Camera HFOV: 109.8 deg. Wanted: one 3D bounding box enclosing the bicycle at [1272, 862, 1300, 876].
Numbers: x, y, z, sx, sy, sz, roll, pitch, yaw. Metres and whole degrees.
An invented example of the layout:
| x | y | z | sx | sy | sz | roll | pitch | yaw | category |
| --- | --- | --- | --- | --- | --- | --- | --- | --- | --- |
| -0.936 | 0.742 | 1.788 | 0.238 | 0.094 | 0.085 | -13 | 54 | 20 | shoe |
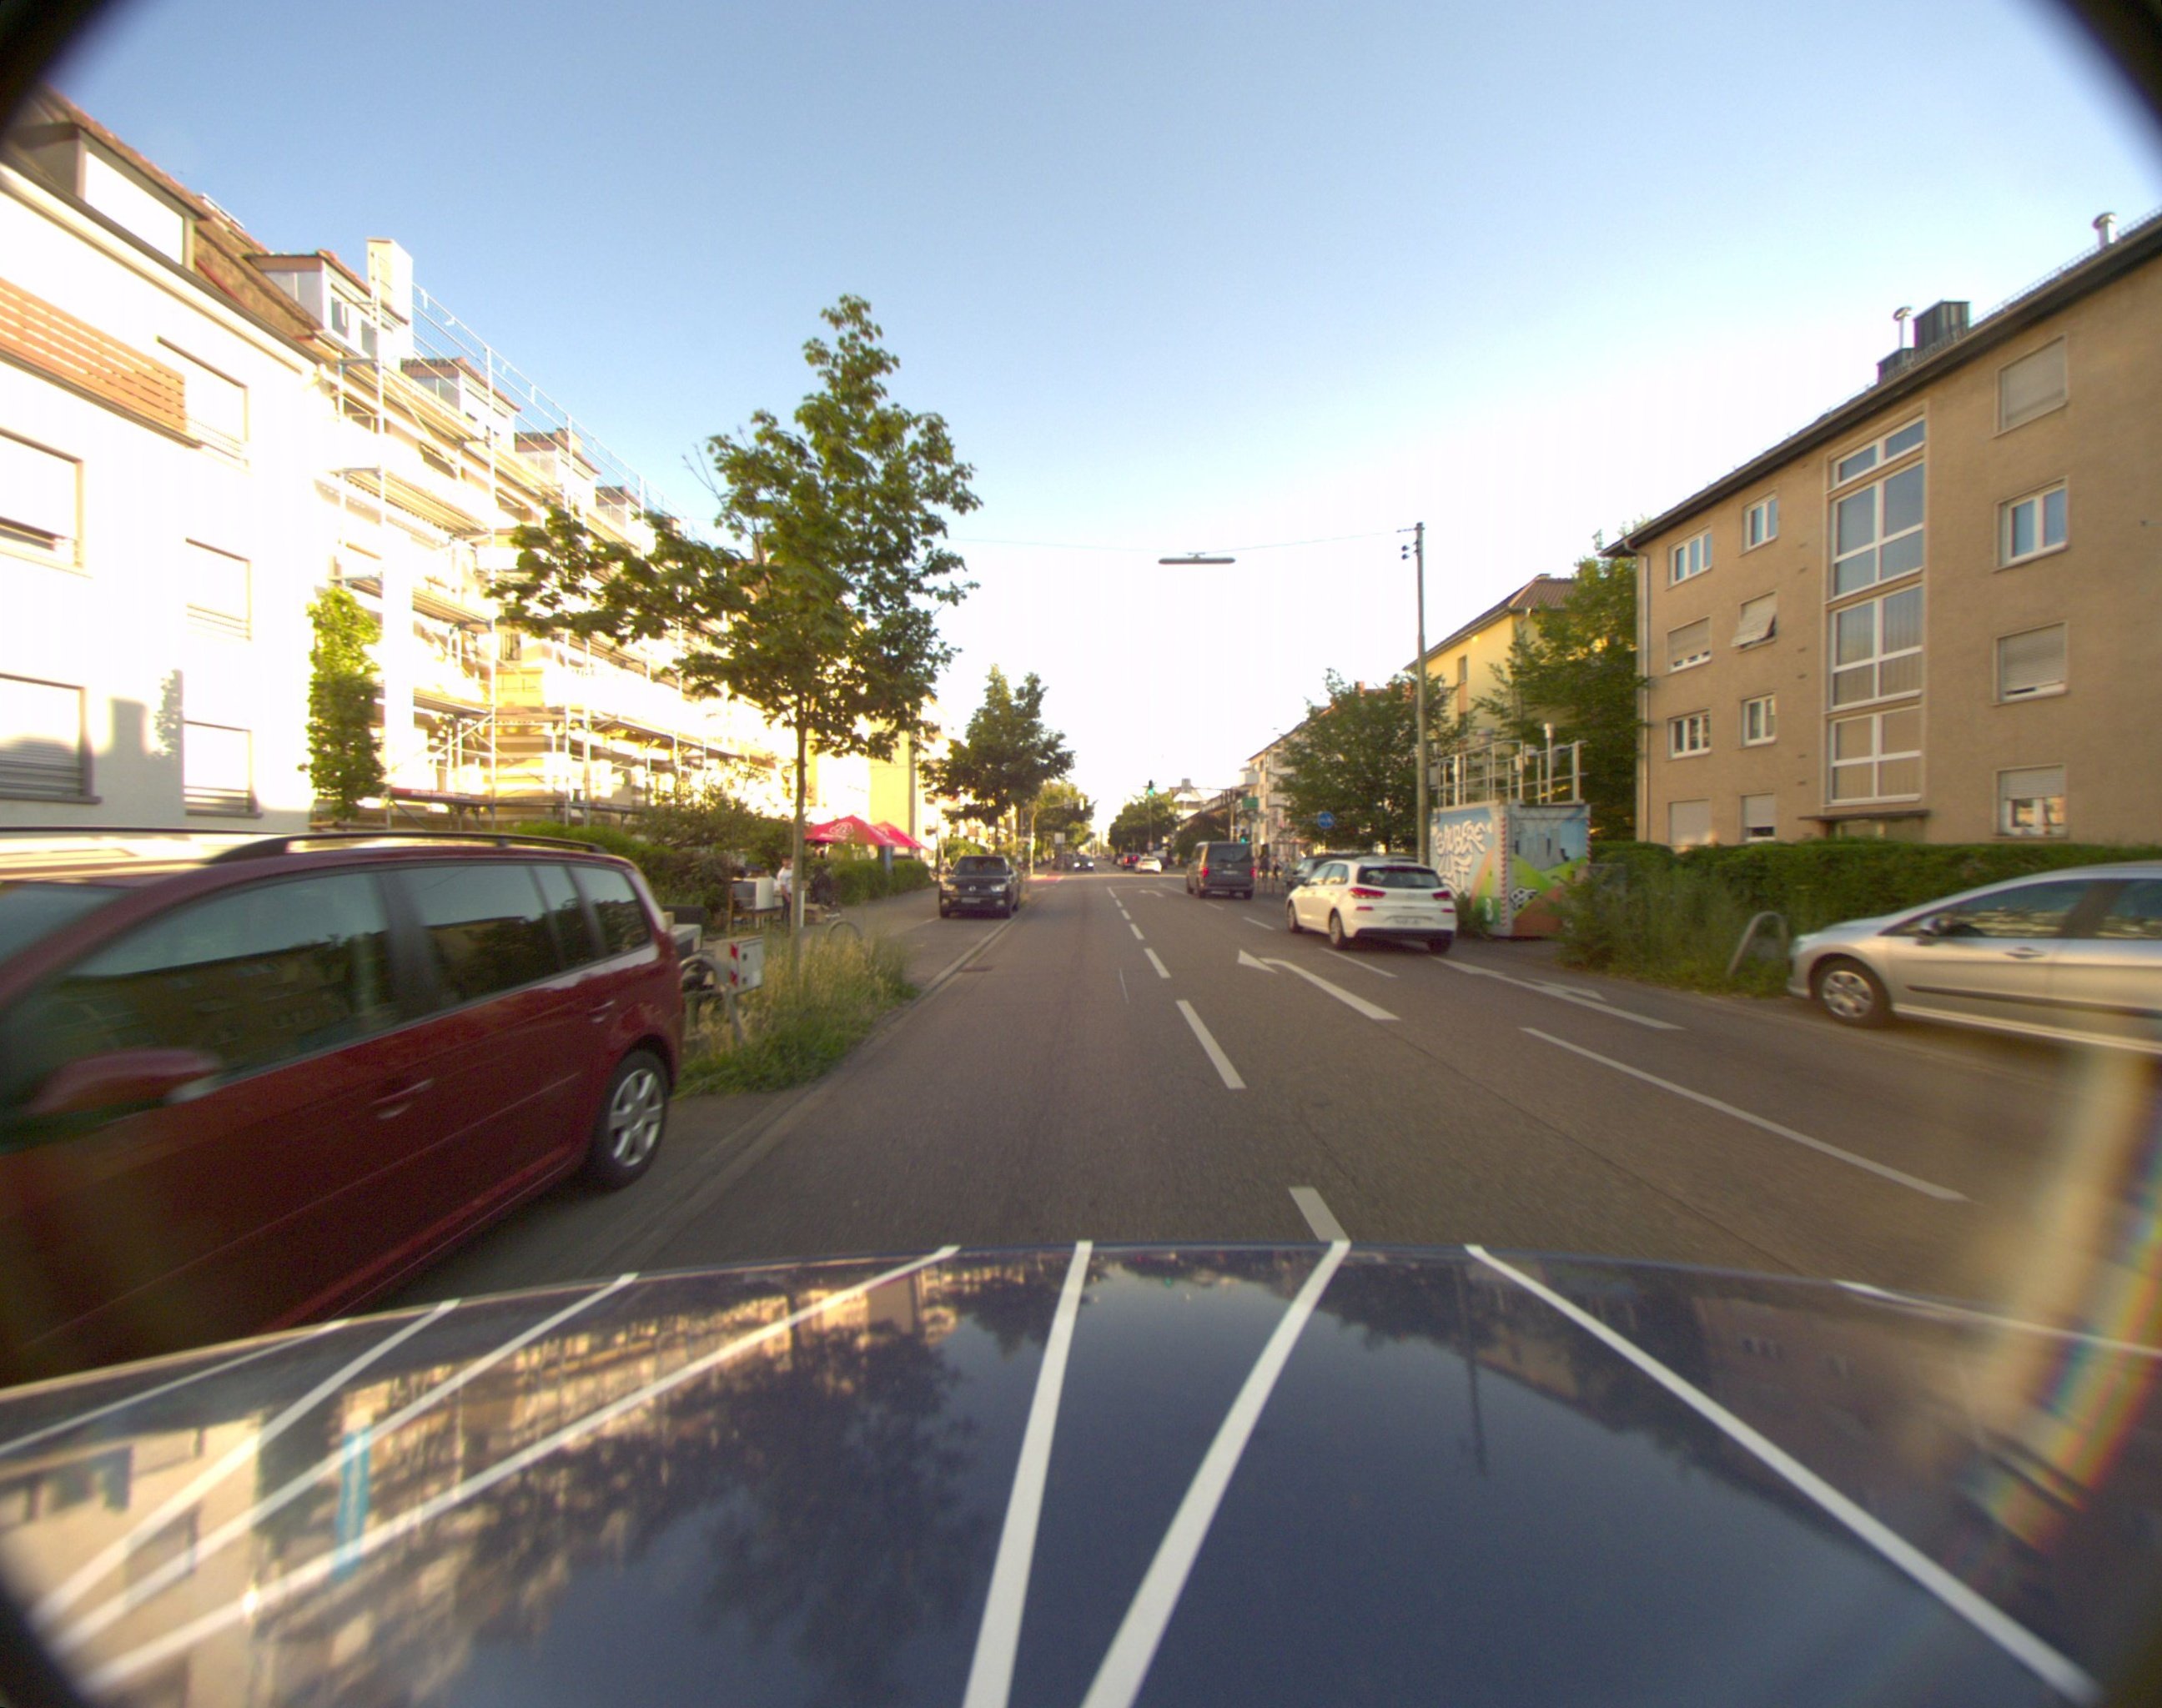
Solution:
| x | y | z | sx | sy | sz | roll | pitch | yaw | category |
| --- | --- | --- | --- | --- | --- | --- | --- | --- | --- |
| 15.652 | 1.126 | 58.133 | 1.996 | 1.083 | 0.729 | 0 | -1 | 10 | bicycle |

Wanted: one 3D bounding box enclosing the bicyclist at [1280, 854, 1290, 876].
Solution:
| x | y | z | sx | sy | sz | roll | pitch | yaw | category |
| --- | --- | --- | --- | --- | --- | --- | --- | --- | --- |
| 15.619 | 0.830 | 58.137 | 0.672 | 1.643 | 0.751 | 0 | -1 | 10 | bicyclist |

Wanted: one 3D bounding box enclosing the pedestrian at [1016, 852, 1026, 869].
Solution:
| x | y | z | sx | sy | sz | roll | pitch | yaw | category |
| --- | --- | --- | --- | --- | --- | --- | --- | --- | --- |
| -5.729 | 0.607 | 72.215 | 0.830 | 1.673 | 0.660 | 0 | 1 | 4 | pedestrian |

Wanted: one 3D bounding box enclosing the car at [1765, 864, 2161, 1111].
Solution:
| x | y | z | sx | sy | sz | roll | pitch | yaw | category |
| --- | --- | --- | --- | --- | --- | --- | --- | --- | --- |
| 7.686 | 0.869 | 5.480 | 1.687 | 1.512 | 4.190 | -1 | 0 | -1 | car |

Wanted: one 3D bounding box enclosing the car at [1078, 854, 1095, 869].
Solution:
| x | y | z | sx | sy | sz | roll | pitch | yaw | category |
| --- | --- | --- | --- | --- | --- | --- | --- | --- | --- |
| 0.561 | 0.764 | 78.349 | 1.641 | 1.482 | 4.415 | 1 | 0 | 0 | car |

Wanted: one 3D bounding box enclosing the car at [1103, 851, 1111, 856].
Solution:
| x | y | z | sx | sy | sz | roll | pitch | yaw | category |
| --- | --- | --- | --- | --- | --- | --- | --- | --- | --- |
| 7.535 | -0.176 | 220.316 | 1.843 | 1.604 | 4.406 | -1 | 0 | -7 | car |

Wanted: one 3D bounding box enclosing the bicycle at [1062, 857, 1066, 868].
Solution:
| x | y | z | sx | sy | sz | roll | pitch | yaw | category |
| --- | --- | --- | --- | --- | --- | --- | --- | --- | --- |
| -1.737 | 0.908 | 78.655 | 0.325 | 1.138 | 1.800 | 0 | 0 | -4 | bicycle |

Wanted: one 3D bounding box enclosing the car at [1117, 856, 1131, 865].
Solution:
| x | y | z | sx | sy | sz | roll | pitch | yaw | category |
| --- | --- | --- | --- | --- | --- | --- | --- | --- | --- |
| 6.016 | 0.905 | 106.609 | 1.845 | 1.312 | 4.441 | 0 | 0 | 2 | car |

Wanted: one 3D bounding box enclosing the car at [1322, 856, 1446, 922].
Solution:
| x | y | z | sx | sy | sz | roll | pitch | yaw | category |
| --- | --- | --- | --- | --- | --- | --- | --- | --- | --- |
| 7.836 | 0.845 | 20.047 | 1.641 | 1.543 | 3.785 | 0 | 0 | -2 | car |

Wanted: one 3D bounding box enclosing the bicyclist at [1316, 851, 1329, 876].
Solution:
| x | y | z | sx | sy | sz | roll | pitch | yaw | category |
| --- | --- | --- | --- | --- | --- | --- | --- | --- | --- |
| 17.153 | 0.682 | 53.988 | 0.608 | 1.711 | 0.750 | 0 | 0 | -5 | bicyclist |

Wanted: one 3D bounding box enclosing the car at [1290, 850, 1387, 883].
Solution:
| x | y | z | sx | sy | sz | roll | pitch | yaw | category |
| --- | --- | --- | --- | --- | --- | --- | --- | --- | --- |
| 13.985 | 0.650 | 41.387 | 4.603 | 1.604 | 1.843 | -2 | 0 | -2 | car |

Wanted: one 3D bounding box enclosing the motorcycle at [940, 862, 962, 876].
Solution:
| x | y | z | sx | sy | sz | roll | pitch | yaw | category |
| --- | --- | --- | --- | --- | --- | --- | --- | --- | --- |
| -10.507 | 1.179 | 61.454 | 1.698 | 1.105 | 0.594 | -1 | 1 | 1 | motorcycle |

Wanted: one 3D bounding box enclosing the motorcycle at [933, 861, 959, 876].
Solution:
| x | y | z | sx | sy | sz | roll | pitch | yaw | category |
| --- | --- | --- | --- | --- | --- | --- | --- | --- | --- |
| -10.755 | 1.145 | 60.390 | 1.992 | 1.194 | 0.774 | -1 | 1 | -12 | motorcycle |

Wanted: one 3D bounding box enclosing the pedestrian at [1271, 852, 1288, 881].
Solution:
| x | y | z | sx | sy | sz | roll | pitch | yaw | category |
| --- | --- | --- | --- | --- | --- | --- | --- | --- | --- |
| 11.480 | 0.698 | 44.010 | 0.607 | 1.620 | 0.751 | -3 | 2 | 37 | pedestrian |

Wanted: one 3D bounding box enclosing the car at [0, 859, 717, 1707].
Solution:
| x | y | z | sx | sy | sz | roll | pitch | yaw | category |
| --- | --- | --- | --- | --- | --- | --- | --- | --- | --- |
| -2.928 | 0.863 | 2.135 | 1.726 | 1.646 | 4.596 | -1 | 0 | -2 | car |

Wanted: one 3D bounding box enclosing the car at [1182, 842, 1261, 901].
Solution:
| x | y | z | sx | sy | sz | roll | pitch | yaw | category |
| --- | --- | --- | --- | --- | --- | --- | --- | --- | --- |
| 5.057 | 0.582 | 28.018 | 1.998 | 1.934 | 4.777 | 2 | 0 | 0 | car |

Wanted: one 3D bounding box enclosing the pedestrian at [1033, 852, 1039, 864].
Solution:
| x | y | z | sx | sy | sz | roll | pitch | yaw | category |
| --- | --- | --- | --- | --- | --- | --- | --- | --- | --- |
| -6.069 | 0.521 | 101.591 | 0.659 | 1.673 | 0.831 | 0 | 1 | 6 | pedestrian |

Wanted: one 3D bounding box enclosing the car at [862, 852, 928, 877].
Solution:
| x | y | z | sx | sy | sz | roll | pitch | yaw | category |
| --- | --- | --- | --- | --- | --- | --- | --- | --- | --- |
| -14.840 | 0.834 | 60.831 | 4.842 | 1.855 | 1.952 | 0 | 2 | -2 | car |

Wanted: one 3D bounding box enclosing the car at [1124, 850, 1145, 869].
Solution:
| x | y | z | sx | sy | sz | roll | pitch | yaw | category |
| --- | --- | --- | --- | --- | --- | --- | --- | --- | --- |
| 5.549 | 0.528 | 78.821 | 1.866 | 1.819 | 5.227 | 1 | 0 | 1 | car |

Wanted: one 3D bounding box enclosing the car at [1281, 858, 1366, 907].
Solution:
| x | y | z | sx | sy | sz | roll | pitch | yaw | category |
| --- | --- | --- | --- | --- | --- | --- | --- | --- | --- |
| 7.901 | 0.872 | 25.104 | 1.657 | 1.470 | 3.943 | 0 | 0 | 2 | car |

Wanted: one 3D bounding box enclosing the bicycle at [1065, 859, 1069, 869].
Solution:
| x | y | z | sx | sy | sz | roll | pitch | yaw | category |
| --- | --- | --- | --- | --- | --- | --- | --- | --- | --- |
| -1.488 | 1.087 | 81.371 | 0.325 | 0.981 | 1.191 | 0 | 0 | 5 | bicycle |

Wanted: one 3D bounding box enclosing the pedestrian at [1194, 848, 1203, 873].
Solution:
| x | y | z | sx | sy | sz | roll | pitch | yaw | category |
| --- | --- | --- | --- | --- | --- | --- | --- | --- | --- |
| 9.617 | 0.508 | 62.071 | 0.639 | 2.002 | 0.739 | 0 | 1 | 2 | pedestrian |

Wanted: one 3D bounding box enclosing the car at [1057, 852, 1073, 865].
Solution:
| x | y | z | sx | sy | sz | roll | pitch | yaw | category |
| --- | --- | --- | --- | --- | --- | --- | --- | --- | --- |
| -1.914 | 0.482 | 91.738 | 1.744 | 1.508 | 3.811 | 0 | 0 | 3 | car |

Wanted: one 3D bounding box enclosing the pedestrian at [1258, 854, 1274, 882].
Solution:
| x | y | z | sx | sy | sz | roll | pitch | yaw | category |
| --- | --- | --- | --- | --- | --- | --- | --- | --- | --- |
| 10.880 | 0.804 | 44.654 | 0.750 | 1.648 | 0.608 | 0 | 1 | -6 | pedestrian |

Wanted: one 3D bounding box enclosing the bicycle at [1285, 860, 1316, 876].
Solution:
| x | y | z | sx | sy | sz | roll | pitch | yaw | category |
| --- | --- | --- | --- | --- | --- | --- | --- | --- | --- |
| 15.780 | 1.016 | 54.724 | 1.999 | 1.159 | 0.728 | 0 | -1 | -5 | bicycle |

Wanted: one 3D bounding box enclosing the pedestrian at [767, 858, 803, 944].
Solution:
| x | y | z | sx | sy | sz | roll | pitch | yaw | category |
| --- | --- | --- | --- | --- | --- | --- | --- | --- | --- |
| -5.526 | 0.854 | 14.218 | 0.558 | 1.559 | 0.747 | -1 | 1 | -17 | pedestrian |

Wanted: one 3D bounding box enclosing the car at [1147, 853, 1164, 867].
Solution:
| x | y | z | sx | sy | sz | roll | pitch | yaw | category |
| --- | --- | --- | --- | --- | --- | --- | --- | --- | --- |
| 8.578 | 0.685 | 87.492 | 1.755 | 1.526 | 3.572 | 0 | 0 | 2 | car |

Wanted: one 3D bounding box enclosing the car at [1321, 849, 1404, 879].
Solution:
| x | y | z | sx | sy | sz | roll | pitch | yaw | category |
| --- | --- | --- | --- | --- | --- | --- | --- | --- | --- |
| 17.531 | 0.601 | 47.471 | 4.483 | 1.837 | 1.908 | 0 | 1 | 0 | car |

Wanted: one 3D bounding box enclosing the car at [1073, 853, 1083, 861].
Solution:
| x | y | z | sx | sy | sz | roll | pitch | yaw | category |
| --- | --- | --- | --- | --- | --- | --- | --- | --- | --- |
| -0.611 | 0.546 | 147.080 | 1.744 | 1.508 | 3.811 | 0 | 0 | 3 | car |

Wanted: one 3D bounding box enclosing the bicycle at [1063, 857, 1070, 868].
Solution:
| x | y | z | sx | sy | sz | roll | pitch | yaw | category |
| --- | --- | --- | --- | --- | --- | --- | --- | --- | --- |
| -1.596 | 0.943 | 84.218 | 0.324 | 1.138 | 1.802 | 0 | 0 | 14 | bicycle |

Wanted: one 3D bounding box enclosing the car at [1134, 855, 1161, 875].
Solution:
| x | y | z | sx | sy | sz | roll | pitch | yaw | category |
| --- | --- | --- | --- | --- | --- | --- | --- | --- | --- |
| 5.493 | 0.880 | 62.851 | 1.841 | 1.465 | 4.671 | 1 | 0 | 1 | car |

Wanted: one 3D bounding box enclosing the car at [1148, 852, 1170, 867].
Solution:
| x | y | z | sx | sy | sz | roll | pitch | yaw | category |
| --- | --- | --- | --- | --- | --- | --- | --- | --- | --- |
| 8.502 | 0.617 | 82.903 | 1.810 | 1.604 | 3.950 | 0 | 0 | -2 | car |

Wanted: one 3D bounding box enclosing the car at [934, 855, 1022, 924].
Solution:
| x | y | z | sx | sy | sz | roll | pitch | yaw | category |
| --- | --- | --- | --- | --- | --- | --- | --- | --- | --- |
| -2.629 | 0.858 | 20.289 | 1.796 | 1.622 | 4.029 | 1 | 0 | 0 | car |

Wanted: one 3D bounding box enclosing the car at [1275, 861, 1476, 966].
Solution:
| x | y | z | sx | sy | sz | roll | pitch | yaw | category |
| --- | --- | --- | --- | --- | --- | --- | --- | --- | --- |
| 4.866 | 0.899 | 13.252 | 1.820 | 1.438 | 4.110 | 2 | 0 | -1 | car |

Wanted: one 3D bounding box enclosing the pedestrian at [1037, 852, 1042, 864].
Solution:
| x | y | z | sx | sy | sz | roll | pitch | yaw | category |
| --- | --- | --- | --- | --- | --- | --- | --- | --- | --- |
| -5.692 | 0.497 | 104.240 | 0.659 | 1.673 | 0.831 | 0 | 1 | 6 | pedestrian |

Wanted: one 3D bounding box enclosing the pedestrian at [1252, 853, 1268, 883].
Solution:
| x | y | z | sx | sy | sz | roll | pitch | yaw | category |
| --- | --- | --- | --- | --- | --- | --- | --- | --- | --- |
| 10.116 | 0.781 | 42.973 | 0.608 | 1.585 | 0.749 | -4 | 2 | -2 | pedestrian |

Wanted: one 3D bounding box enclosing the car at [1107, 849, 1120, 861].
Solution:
| x | y | z | sx | sy | sz | roll | pitch | yaw | category |
| --- | --- | --- | --- | --- | --- | --- | --- | --- | --- |
| 5.247 | 0.162 | 122.106 | 1.842 | 1.866 | 4.409 | 0 | 0 | 0 | car |
